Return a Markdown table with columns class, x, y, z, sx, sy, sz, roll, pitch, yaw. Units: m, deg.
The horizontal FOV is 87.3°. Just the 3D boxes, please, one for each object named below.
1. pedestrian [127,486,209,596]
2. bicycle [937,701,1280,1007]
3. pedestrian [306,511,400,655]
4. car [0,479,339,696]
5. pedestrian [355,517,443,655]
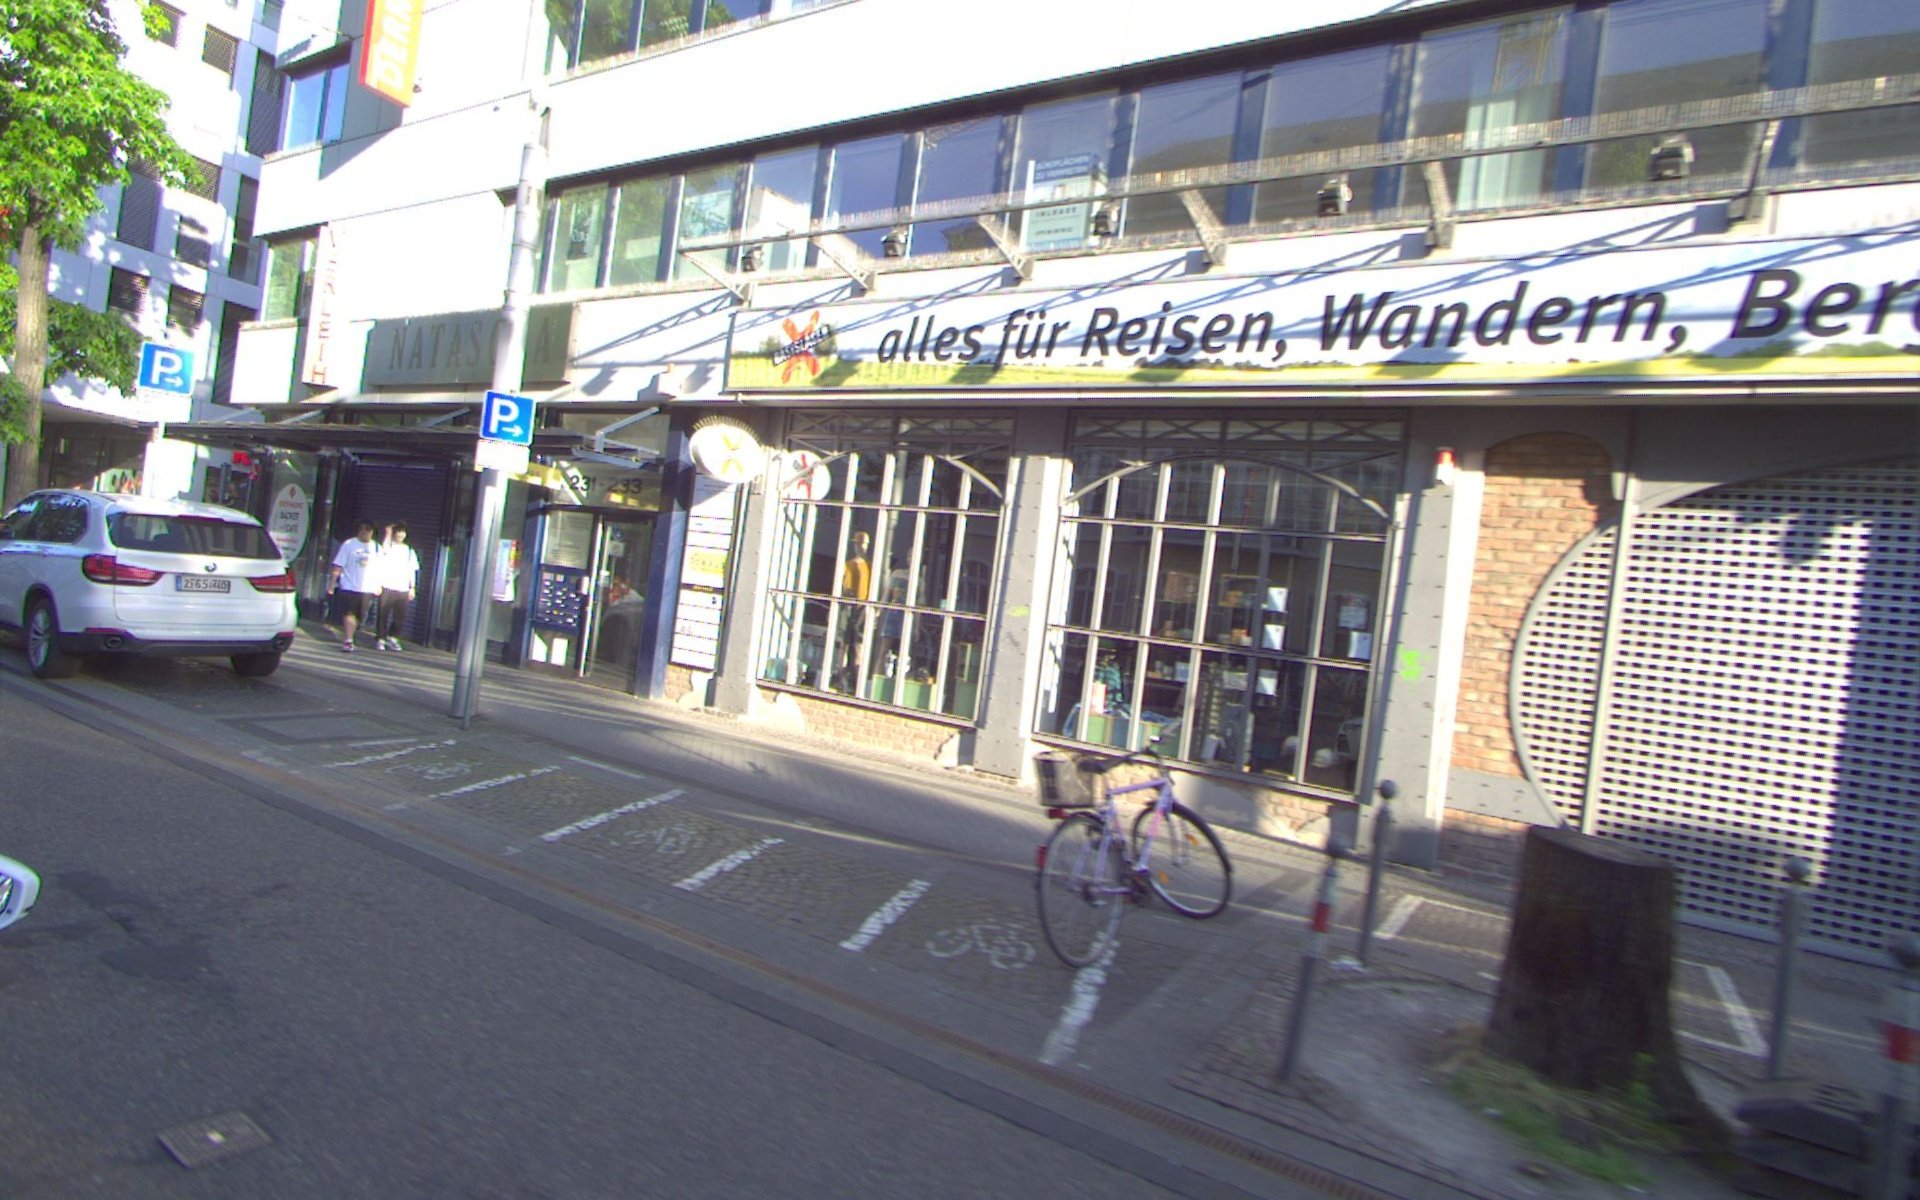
| class | x | y | z | sx | sy | sz | roll | pitch | yaw |
| --- | --- | --- | --- | --- | --- | --- | --- | --- | --- |
| pedestrian | -14.889 | -1.106 | 18.921 | 0.903 | 1.921 | 0.834 | 7 | 1 | 34 |
| bicycle | 0.828 | 1.151 | 5.127 | 0.828 | 1.149 | 1.810 | 6 | 0 | 39 |
| pedestrian | -8.289 | -0.224 | 13.744 | 0.624 | 1.852 | 0.706 | 7 | 0 | 31 |
| car | -9.001 | -0.261 | 10.651 | 4.824 | 1.760 | 2.025 | 7 | 1 | 30 |
| pedestrian | -8.026 | -0.190 | 14.398 | 0.624 | 1.852 | 0.689 | 7 | 0 | 31 |
